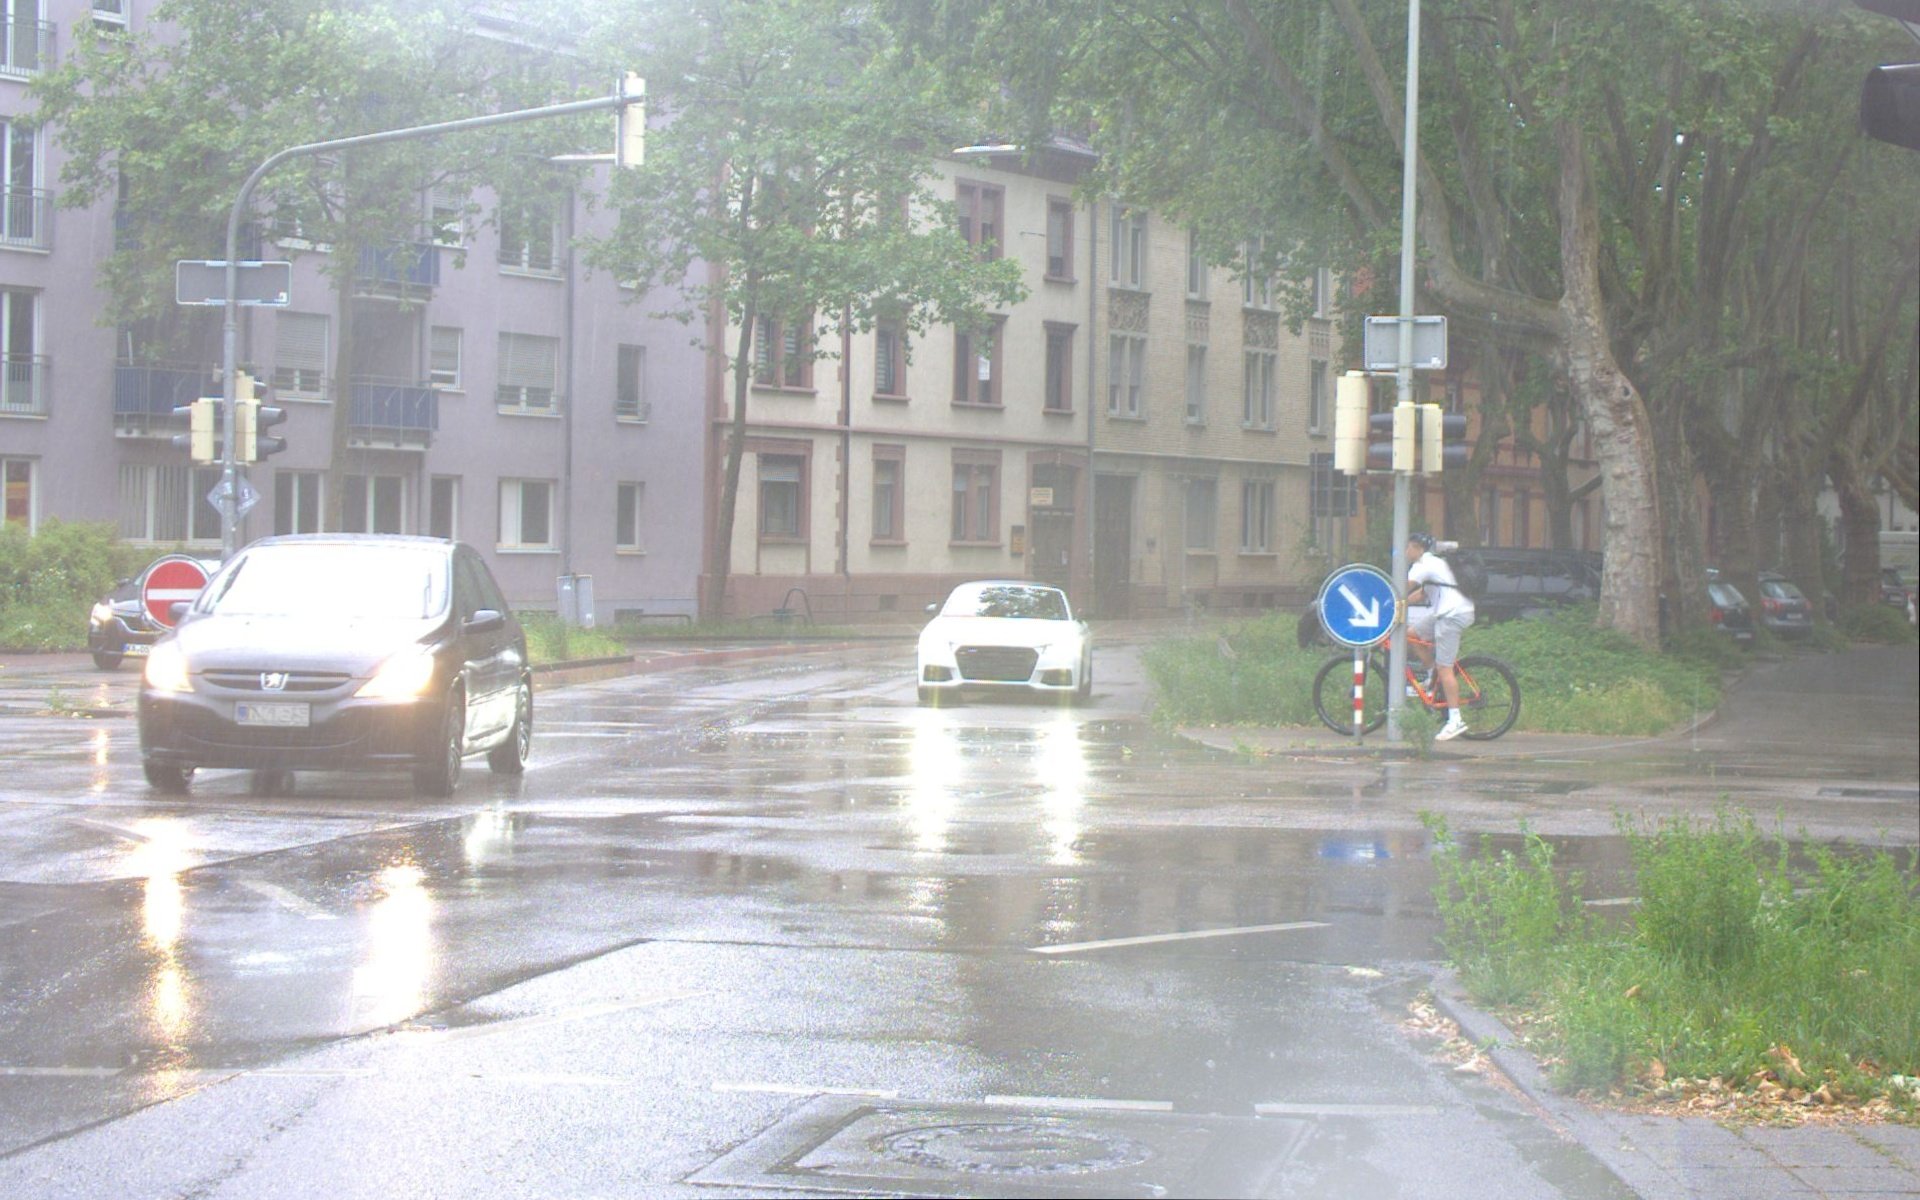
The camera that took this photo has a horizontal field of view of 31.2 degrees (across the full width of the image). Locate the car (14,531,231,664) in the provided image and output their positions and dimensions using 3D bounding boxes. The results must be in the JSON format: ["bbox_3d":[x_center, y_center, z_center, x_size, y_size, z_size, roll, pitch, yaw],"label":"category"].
[{"bbox_3d":[-10.052,-0.066,41.491,1.751,1.506,3.839,1,1,-2],"label":"car"}]

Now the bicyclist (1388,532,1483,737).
[{"bbox_3d":[4.192,0.297,30.357,0.795,1.780,0.697,1,0,8],"label":"bicyclist"}]

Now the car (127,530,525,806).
[{"bbox_3d":[-3.633,0.344,20.279,1.714,1.454,3.748,1,1,-1],"label":"car"}]

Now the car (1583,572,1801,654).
[{"bbox_3d":[13.925,0.237,65.439,3.989,1.481,1.999,1,1,12],"label":"car"}]

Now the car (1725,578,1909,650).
[{"bbox_3d":[19.568,0.306,78.649,3.989,1.542,1.999,1,1,12],"label":"car"}]

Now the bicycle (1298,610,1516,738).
[{"bbox_3d":[3.946,0.644,30.391,1.873,1.077,0.657,1,0,8],"label":"bicycle"}]

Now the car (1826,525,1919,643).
[{"bbox_3d":[24.388,-0.416,87.710,2.033,2.938,4.773,1,1,-21],"label":"car"}]

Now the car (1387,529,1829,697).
[{"bbox_3d":[6.163,0.101,32.698,3.989,1.481,1.999,1,1,12],"label":"car"}]

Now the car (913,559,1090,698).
[{"bbox_3d":[0.498,0.282,39.173,1.884,1.431,4.000,1,1,1],"label":"car"}]
